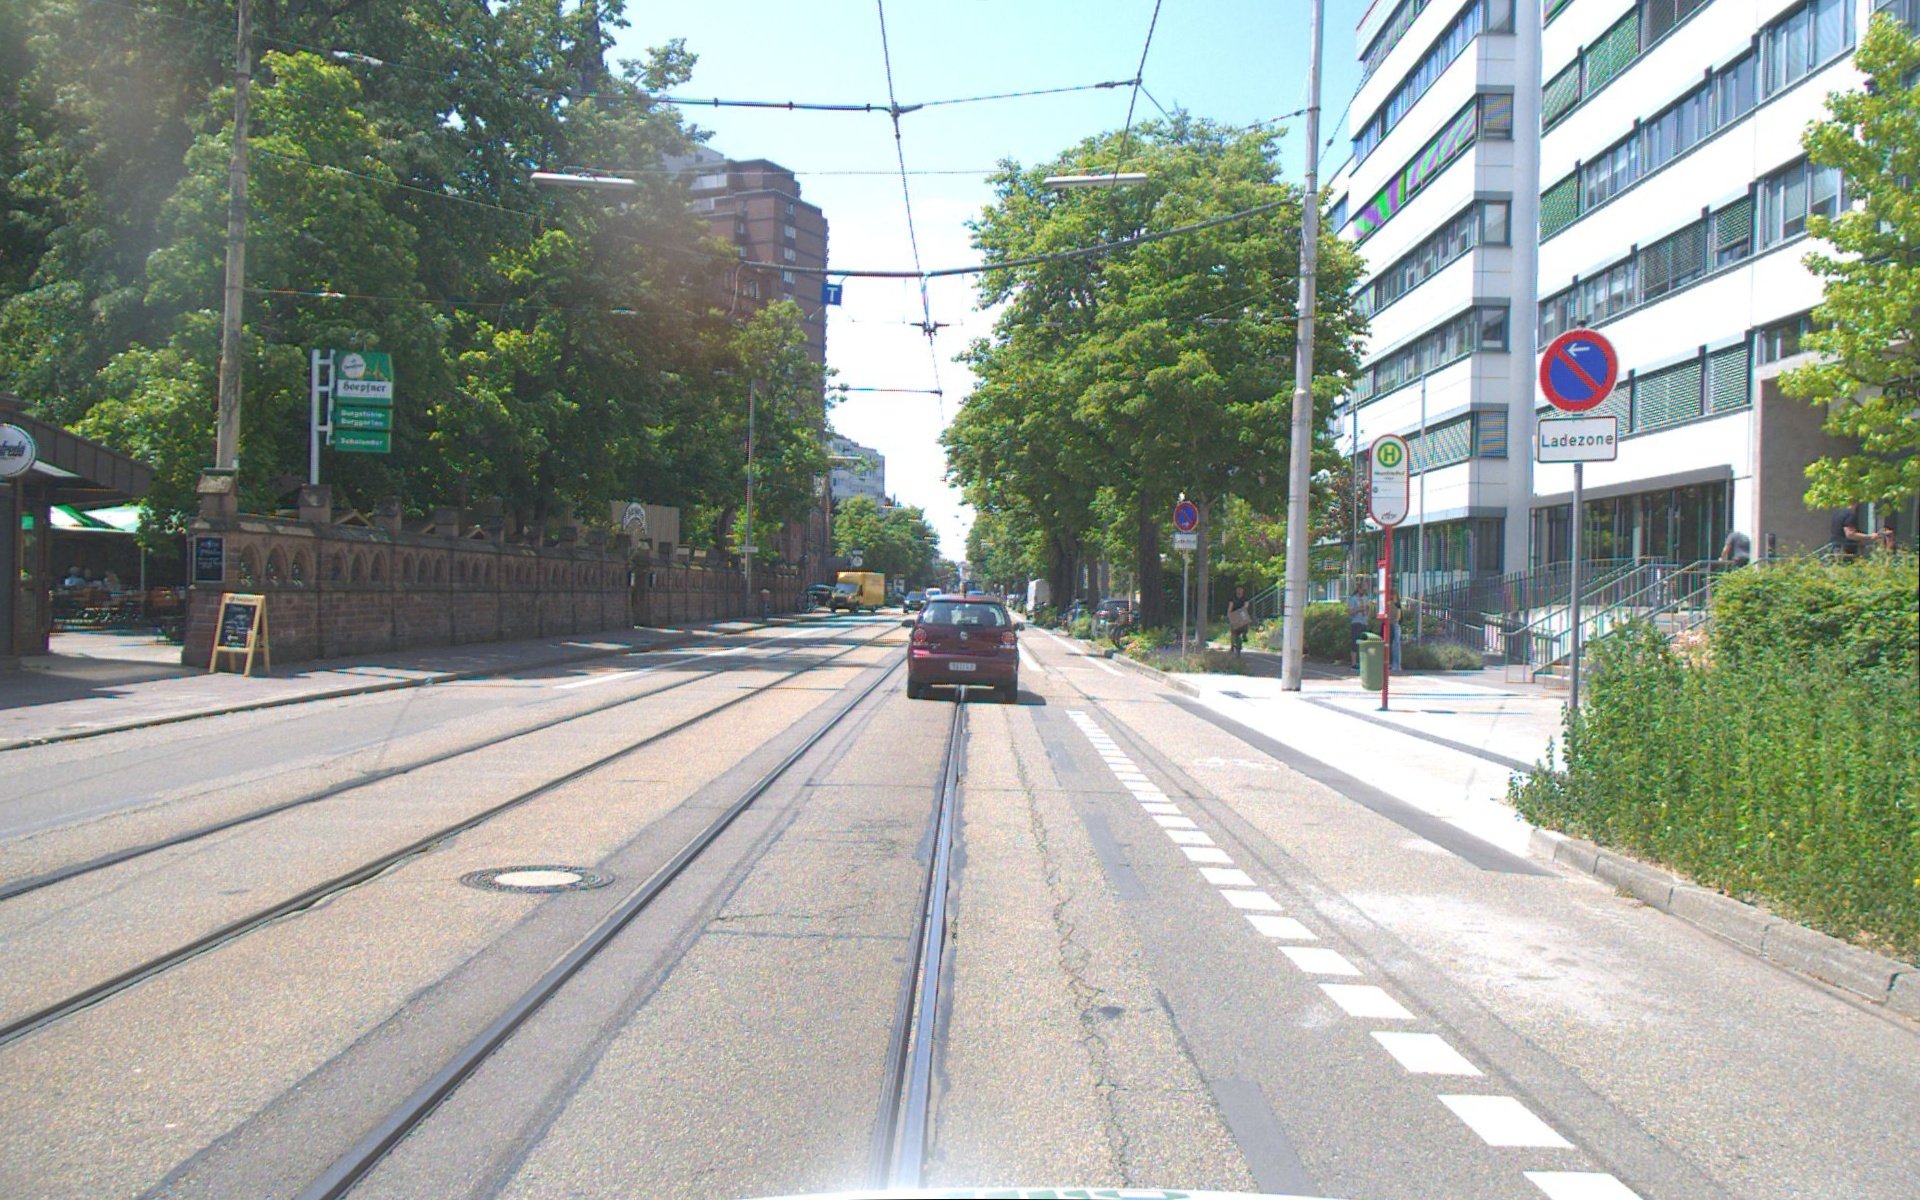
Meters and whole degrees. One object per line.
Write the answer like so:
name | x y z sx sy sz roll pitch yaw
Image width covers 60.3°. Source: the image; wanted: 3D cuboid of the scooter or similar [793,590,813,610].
scooter or similar | -9.528 0.009 100.662 1.073 1.175 0.524 2 0 -21

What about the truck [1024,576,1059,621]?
truck | 5.215 -0.108 106.637 1.953 2.708 4.875 3 0 0

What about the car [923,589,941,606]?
car | -3.200 -0.317 188.010 1.953 1.887 4.682 1 0 0

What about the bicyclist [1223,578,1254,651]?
bicyclist | 6.985 0.365 41.510 0.682 1.831 0.888 0 -1 3

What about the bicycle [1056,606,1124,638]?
bicycle | 5.972 1.003 76.010 3.008 1.336 0.781 3 0 -2

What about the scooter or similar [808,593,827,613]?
scooter or similar | -8.942 0.189 103.916 1.073 1.175 0.524 2 0 -21

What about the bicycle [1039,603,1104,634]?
bicycle | 5.319 0.896 79.311 3.008 1.336 0.781 3 0 -2

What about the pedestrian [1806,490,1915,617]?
pedestrian | 12.683 -0.642 23.322 0.857 1.745 1.087 0 -1 -8

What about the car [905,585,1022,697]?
car | 0.045 0.556 24.716 1.586 1.512 4.000 1 0 0

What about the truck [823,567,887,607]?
truck | -7.624 -0.907 120.629 2.319 2.835 7.324 1 0 16

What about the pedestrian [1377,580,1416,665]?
pedestrian | 9.081 0.464 34.435 0.531 1.745 0.560 0 -1 -29

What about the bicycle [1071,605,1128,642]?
bicycle | 4.353 0.726 51.523 1.715 1.104 0.548 1 0 0

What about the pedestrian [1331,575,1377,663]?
pedestrian | 8.298 0.402 34.833 0.670 1.828 0.667 0 0 -31

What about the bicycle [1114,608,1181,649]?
bicycle | 5.202 0.789 45.980 1.787 1.104 0.719 1 -1 4

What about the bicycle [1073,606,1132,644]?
bicycle | 4.278 0.746 49.775 1.715 1.104 0.548 1 0 0

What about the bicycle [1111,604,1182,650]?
bicycle | 5.054 0.730 44.884 1.845 1.203 0.694 1 -1 0

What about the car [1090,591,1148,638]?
car | 5.443 0.481 57.066 1.654 1.529 3.627 0 0 0

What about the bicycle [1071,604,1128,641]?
bicycle | 4.391 0.705 52.155 1.715 1.104 0.548 1 0 0

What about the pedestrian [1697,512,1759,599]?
pedestrian | 15.998 -0.920 34.466 0.860 1.746 0.807 2 0 -1

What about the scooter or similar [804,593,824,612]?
scooter or similar | -9.224 0.164 104.575 1.073 1.175 0.524 2 0 -21

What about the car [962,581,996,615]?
car | 1.202 -0.127 107.027 1.953 2.048 3.999 3 0 -2

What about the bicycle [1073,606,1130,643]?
bicycle | 4.350 0.751 50.894 1.715 1.104 0.548 1 0 0

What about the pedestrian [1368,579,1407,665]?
pedestrian | 8.764 0.456 33.917 0.531 1.745 0.560 0 -1 -29

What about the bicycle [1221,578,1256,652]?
bicycle | 6.973 0.372 41.454 0.675 1.817 1.811 0 -1 3

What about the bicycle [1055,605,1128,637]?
bicycle | 6.140 0.970 77.400 3.299 1.336 0.781 3 0 -2

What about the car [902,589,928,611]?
car | -3.260 -0.027 120.691 1.734 1.542 4.000 1 0 0

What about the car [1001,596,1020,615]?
car | 4.693 0.506 154.137 1.640 1.685 4.000 3 0 0

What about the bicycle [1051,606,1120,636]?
bicycle | 5.672 0.940 74.787 3.008 1.175 0.781 3 0 -2
